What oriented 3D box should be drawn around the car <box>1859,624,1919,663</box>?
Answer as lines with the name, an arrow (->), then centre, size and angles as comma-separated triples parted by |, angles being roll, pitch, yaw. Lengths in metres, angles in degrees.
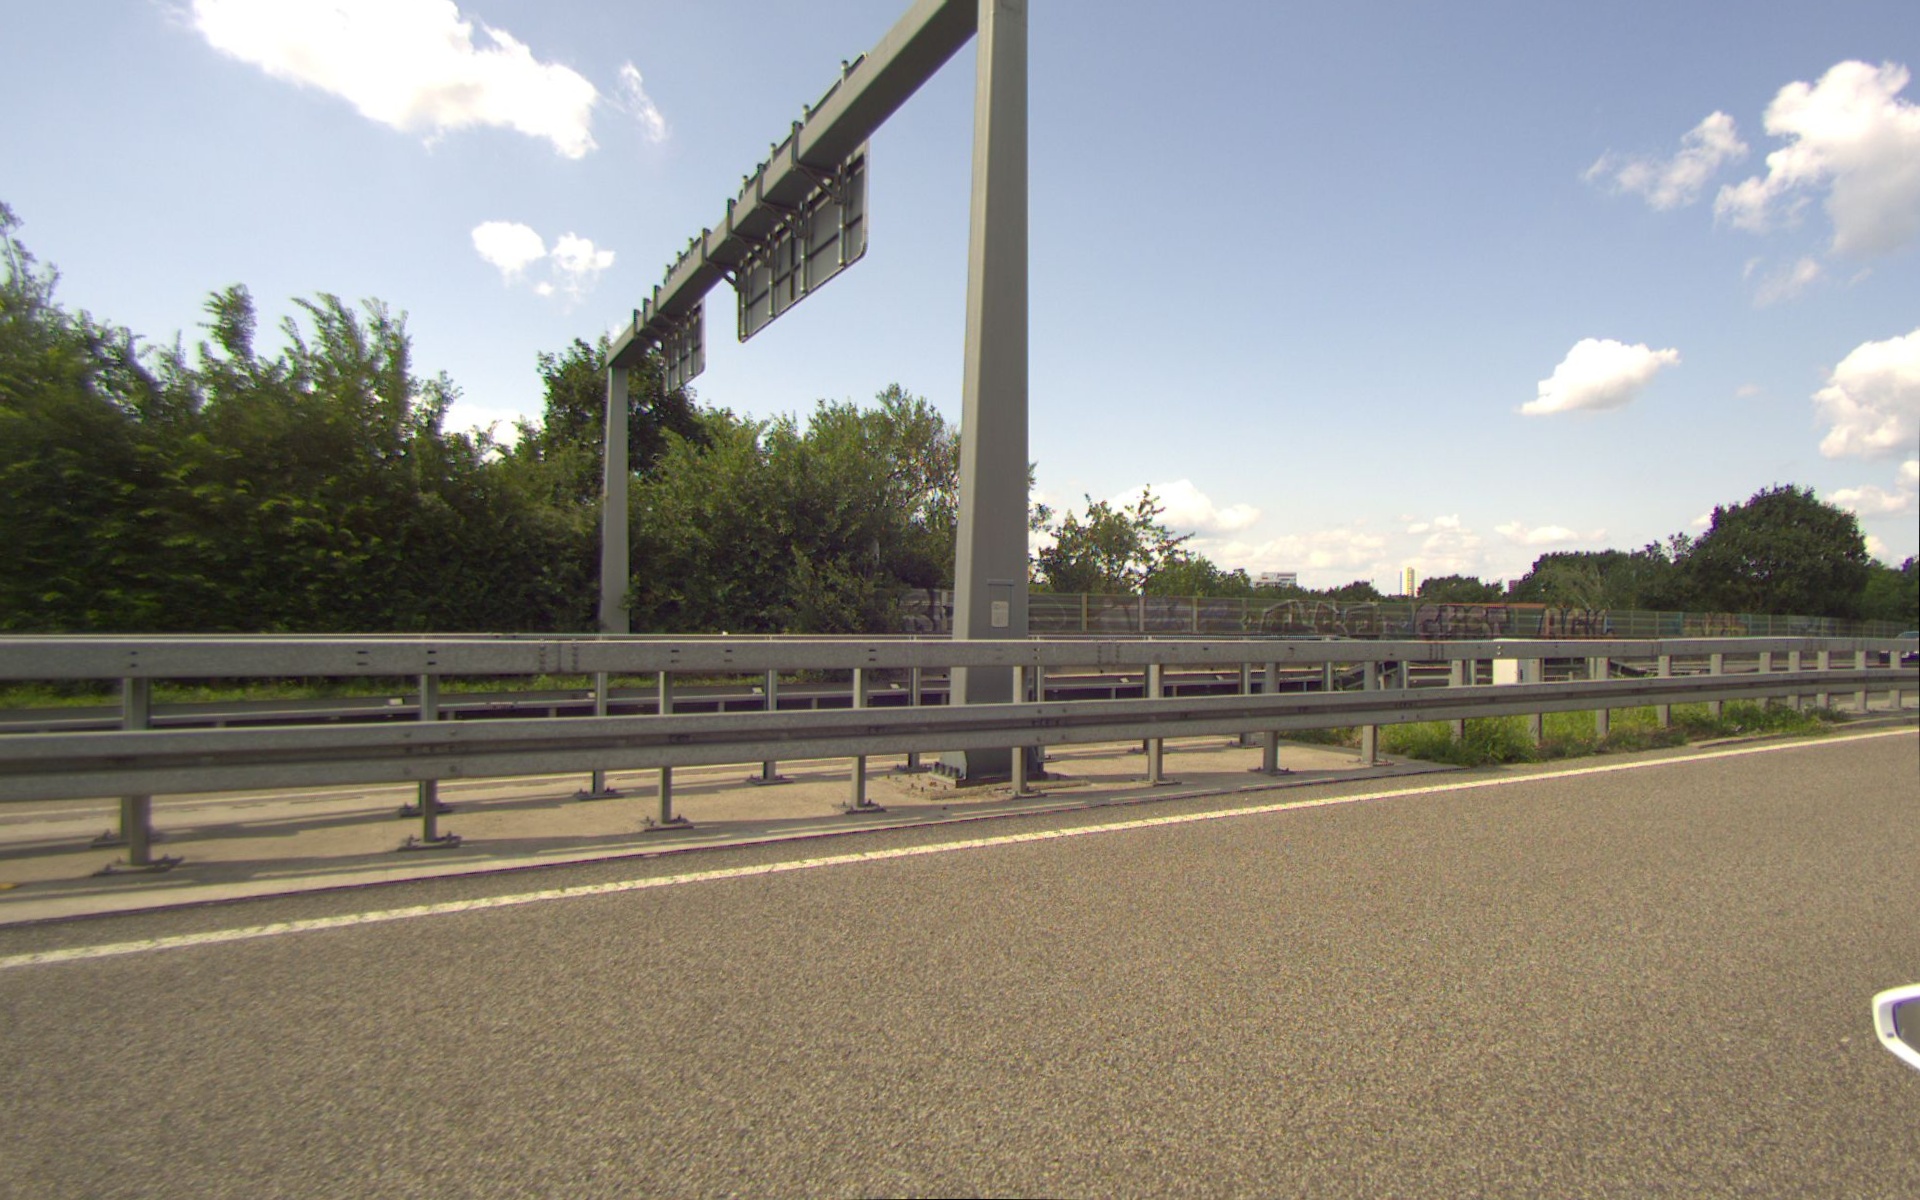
car -> 38.447, 1.748, 40.865 | 4.355, 1.450, 1.679 | 2, 0, -33
